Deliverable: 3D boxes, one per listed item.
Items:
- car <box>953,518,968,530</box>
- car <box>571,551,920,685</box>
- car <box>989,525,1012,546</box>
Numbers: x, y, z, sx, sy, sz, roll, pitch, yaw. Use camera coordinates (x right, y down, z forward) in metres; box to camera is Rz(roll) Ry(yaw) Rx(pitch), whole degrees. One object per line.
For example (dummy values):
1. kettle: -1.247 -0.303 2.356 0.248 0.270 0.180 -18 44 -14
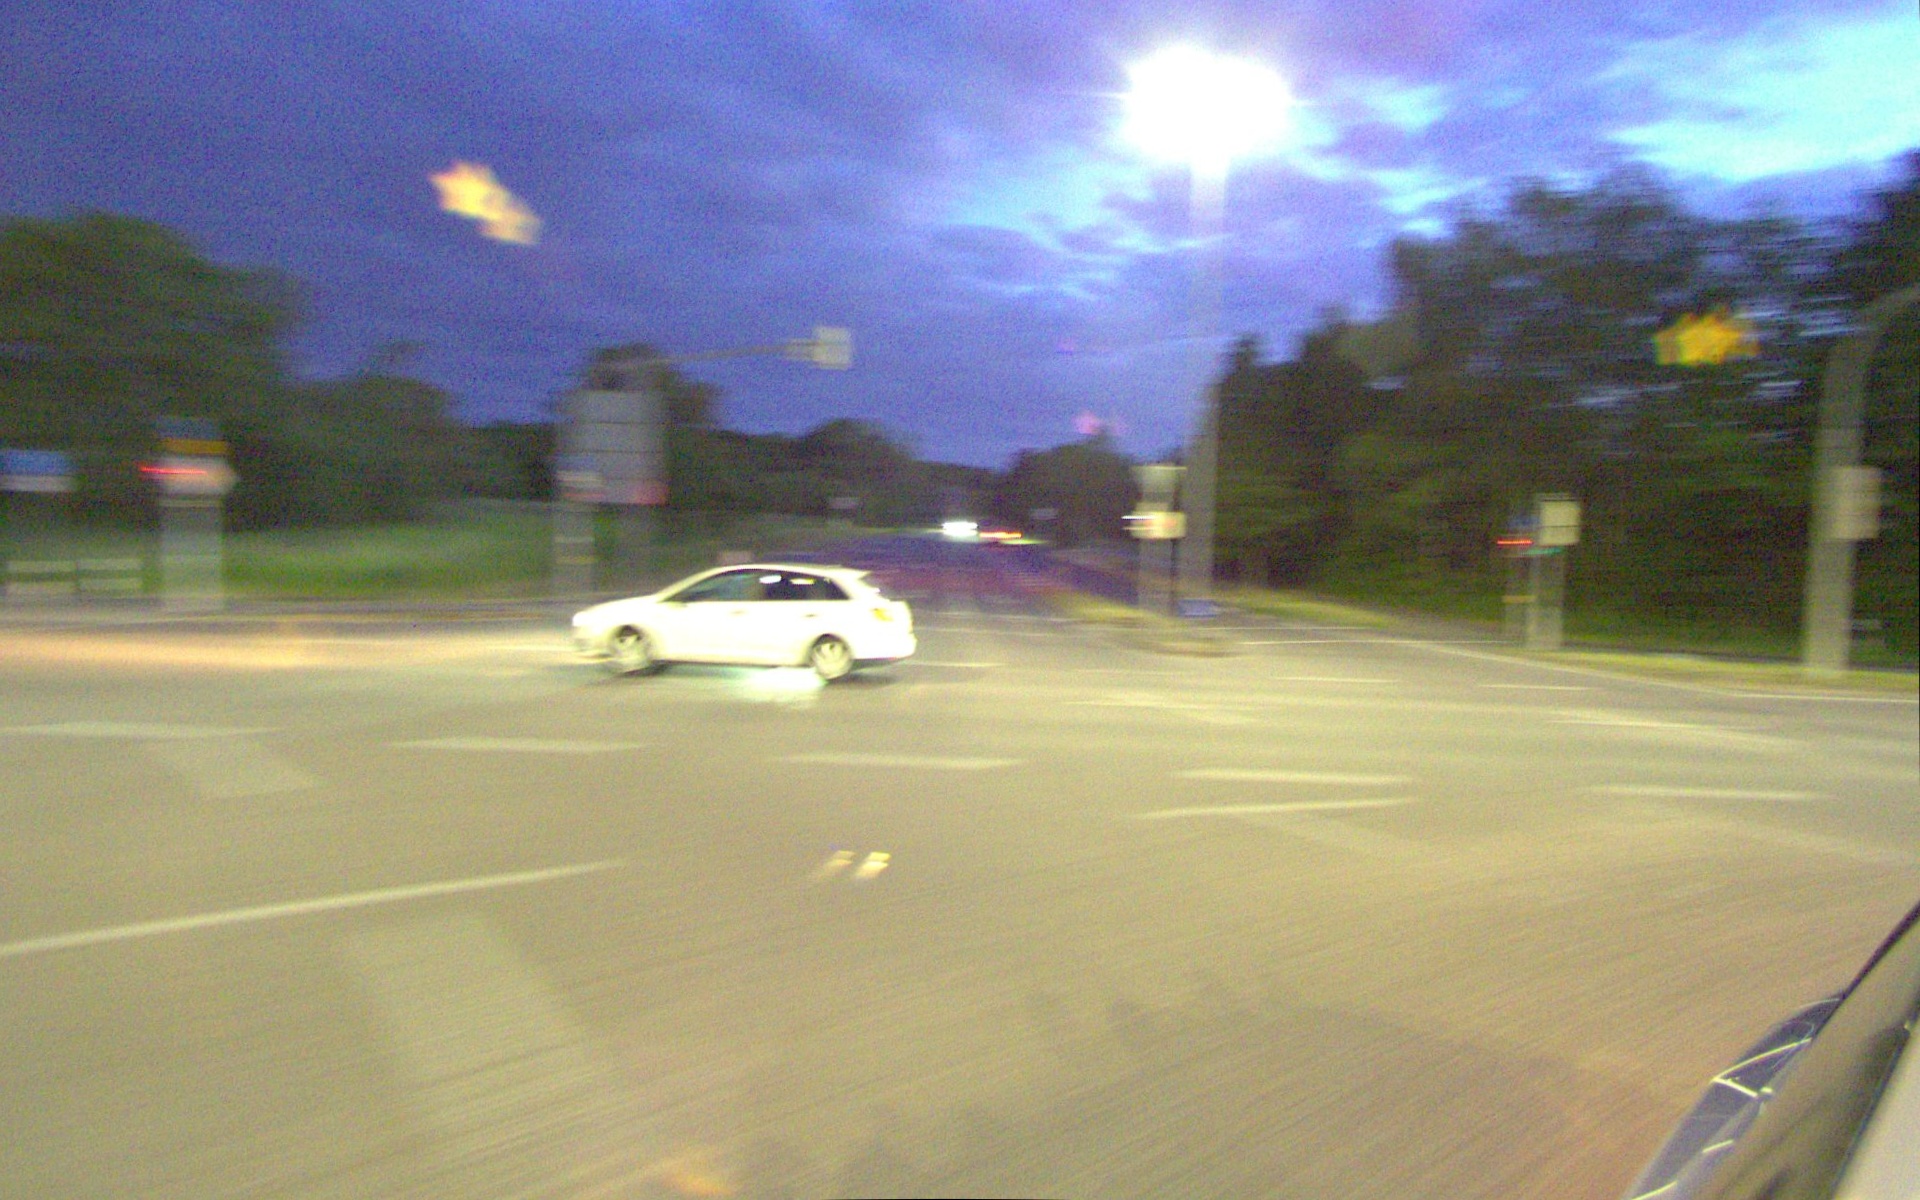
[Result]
1. car: 0.108 -11.611 155.056 1.672 1.616 3.913 1 1 11
2. car: -2.579 0.174 12.772 4.040 1.461 1.625 2 2 1
3. car: 3.744 -6.037 94.511 1.706 1.590 4.069 2 7 -3
